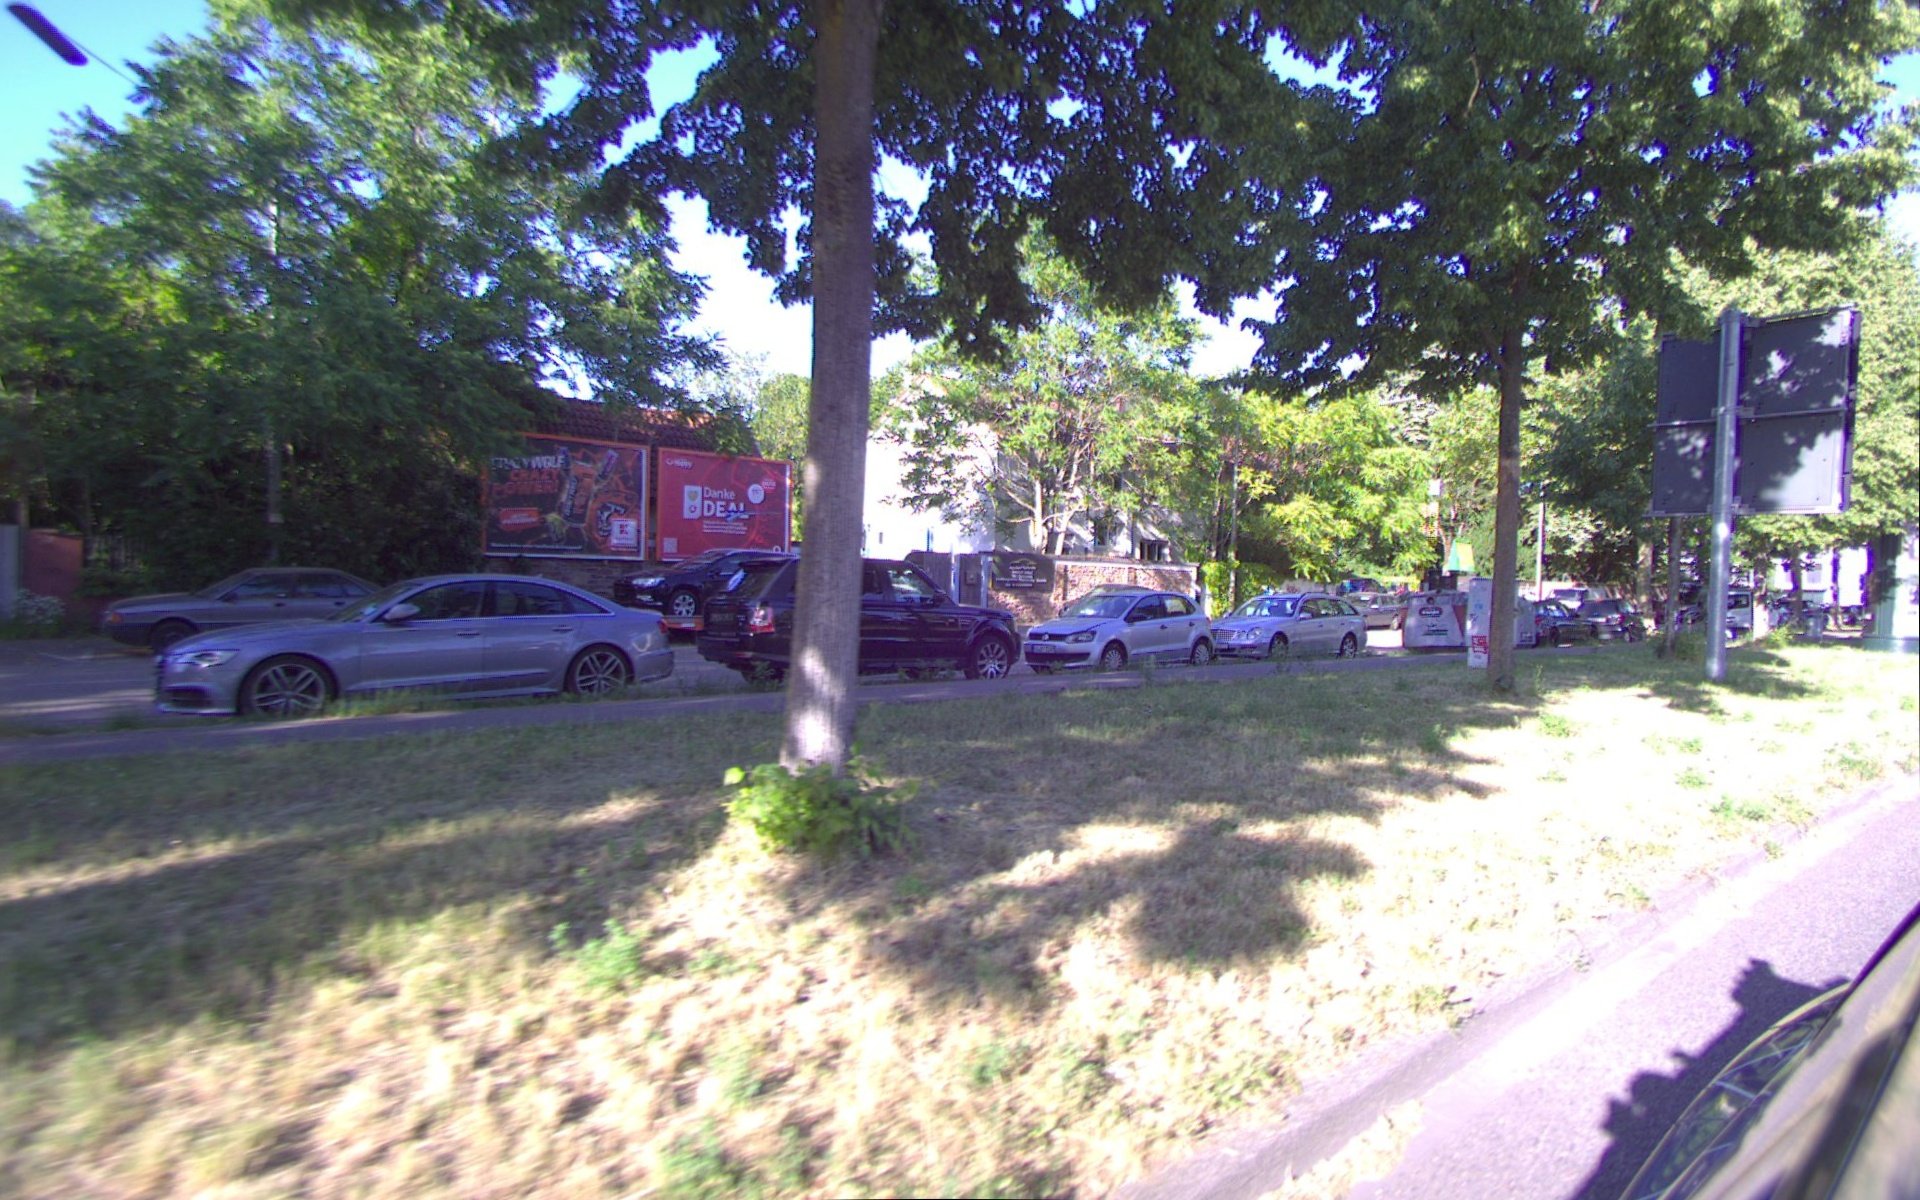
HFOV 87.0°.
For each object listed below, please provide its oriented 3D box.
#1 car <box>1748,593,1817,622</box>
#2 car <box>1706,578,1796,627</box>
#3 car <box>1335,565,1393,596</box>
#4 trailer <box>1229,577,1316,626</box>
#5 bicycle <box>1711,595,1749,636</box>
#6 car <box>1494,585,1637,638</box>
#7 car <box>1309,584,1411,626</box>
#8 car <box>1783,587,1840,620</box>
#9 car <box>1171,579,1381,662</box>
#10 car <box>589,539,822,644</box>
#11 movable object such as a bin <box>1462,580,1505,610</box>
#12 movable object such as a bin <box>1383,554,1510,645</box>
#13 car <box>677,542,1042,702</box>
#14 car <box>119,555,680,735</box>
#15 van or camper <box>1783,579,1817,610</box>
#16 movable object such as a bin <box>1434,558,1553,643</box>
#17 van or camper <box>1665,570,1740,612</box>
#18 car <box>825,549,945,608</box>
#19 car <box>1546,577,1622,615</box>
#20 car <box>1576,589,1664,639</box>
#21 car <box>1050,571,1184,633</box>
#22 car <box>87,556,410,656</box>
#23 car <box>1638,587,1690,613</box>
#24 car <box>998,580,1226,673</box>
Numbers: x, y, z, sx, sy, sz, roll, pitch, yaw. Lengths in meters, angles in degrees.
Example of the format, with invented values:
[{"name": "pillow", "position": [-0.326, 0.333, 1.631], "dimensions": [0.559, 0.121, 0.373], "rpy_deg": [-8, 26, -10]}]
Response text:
[{"name": "car", "position": [39.194, 0.312, 48.208], "dimensions": [3.984, 1.306, 1.996], "rpy_deg": [-1, 1, -43]}, {"name": "car", "position": [34.527, 0.066, 44.119], "dimensions": [5.721, 2.039, 2.192], "rpy_deg": [-1, 1, -43]}, {"name": "car", "position": [27.406, -1.316, 68.678], "dimensions": [3.928, 2.039, 1.998], "rpy_deg": [-1, 1, -39]}, {"name": "trailer", "position": [11.754, 0.019, 37.988], "dimensions": [2.969, 1.660, 1.735], "rpy_deg": [-1, 4, -40]}, {"name": "bicycle", "position": [21.096, 0.408, 27.717], "dimensions": [1.872, 1.060, 0.493], "rpy_deg": [-1, 0, -42]}, {"name": "car", "position": [17.362, 0.280, 28.929], "dimensions": [4.658, 1.402, 2.004], "rpy_deg": [-1, 1, -38]}, {"name": "car", "position": [16.108, 0.159, 40.657], "dimensions": [4.247, 1.501, 1.999], "rpy_deg": [-1, 4, -40]}, {"name": "car", "position": [44.497, 0.141, 52.865], "dimensions": [4.279, 1.662, 1.739], "rpy_deg": [-1, 1, -43]}, {"name": "car", "position": [6.685, 0.347, 21.108], "dimensions": [4.968, 1.543, 1.874], "rpy_deg": [-1, 1, -41]}, {"name": "car", "position": [-5.473, -0.229, 22.153], "dimensions": [4.611, 2.026, 1.874], "rpy_deg": [-1, 4, -43]}, {"name": "movable object such as a bin", "position": [28.548, -0.286, 55.181], "dimensions": [1.462, 1.487, 1.646], "rpy_deg": [0, 4, -45]}, {"name": "movable object such as a bin", "position": [11.655, -0.029, 24.268], "dimensions": [2.098, 2.039, 2.086], "rpy_deg": [0, 0, -40]}, {"name": "car", "position": [-1.237, 0.220, 13.920], "dimensions": [4.806, 1.843, 1.875], "rpy_deg": [-1, 1, -40]}, {"name": "car", "position": [-5.556, 0.334, 10.538], "dimensions": [4.821, 1.452, 1.872], "rpy_deg": [-1, 1, -44]}, {"name": "van or camper", "position": [78.285, -0.540, 94.297], "dimensions": [1.994, 2.763, 4.887], "rpy_deg": [6, 4, 43]}, {"name": "movable object such as a bin", "position": [13.720, -0.005, 26.036], "dimensions": [2.098, 2.039, 2.086], "rpy_deg": [0, 0, -40]}, {"name": "van or camper", "position": [51.888, -0.614, 70.649], "dimensions": [6.446, 2.716, 2.564], "rpy_deg": [1, 3, -39]}, {"name": "car", "position": [-2.571, -0.756, 34.143], "dimensions": [1.873, 1.765, 3.991], "rpy_deg": [0, 4, -45]}, {"name": "car", "position": [34.684, -0.240, 56.219], "dimensions": [4.853, 2.039, 2.092], "rpy_deg": [0, 1, -39]}, {"name": "car", "position": [21.349, 0.420, 32.694], "dimensions": [2.937, 1.519, 1.664], "rpy_deg": [-1, 1, -41]}, {"name": "car", "position": [4.861, 0.019, 31.054], "dimensions": [3.932, 1.659, 1.997], "rpy_deg": [-1, 5, -43]}, {"name": "car", "position": [-11.729, 0.041, 16.876], "dimensions": [4.236, 1.387, 1.736], "rpy_deg": [-1, 4, -40]}, {"name": "car", "position": [44.918, -0.026, 64.544], "dimensions": [3.689, 1.490, 1.695], "rpy_deg": [0, 4, -38]}, {"name": "car", "position": [2.681, 0.378, 17.341], "dimensions": [3.934, 1.406, 1.872], "rpy_deg": [-1, 1, -44]}]
